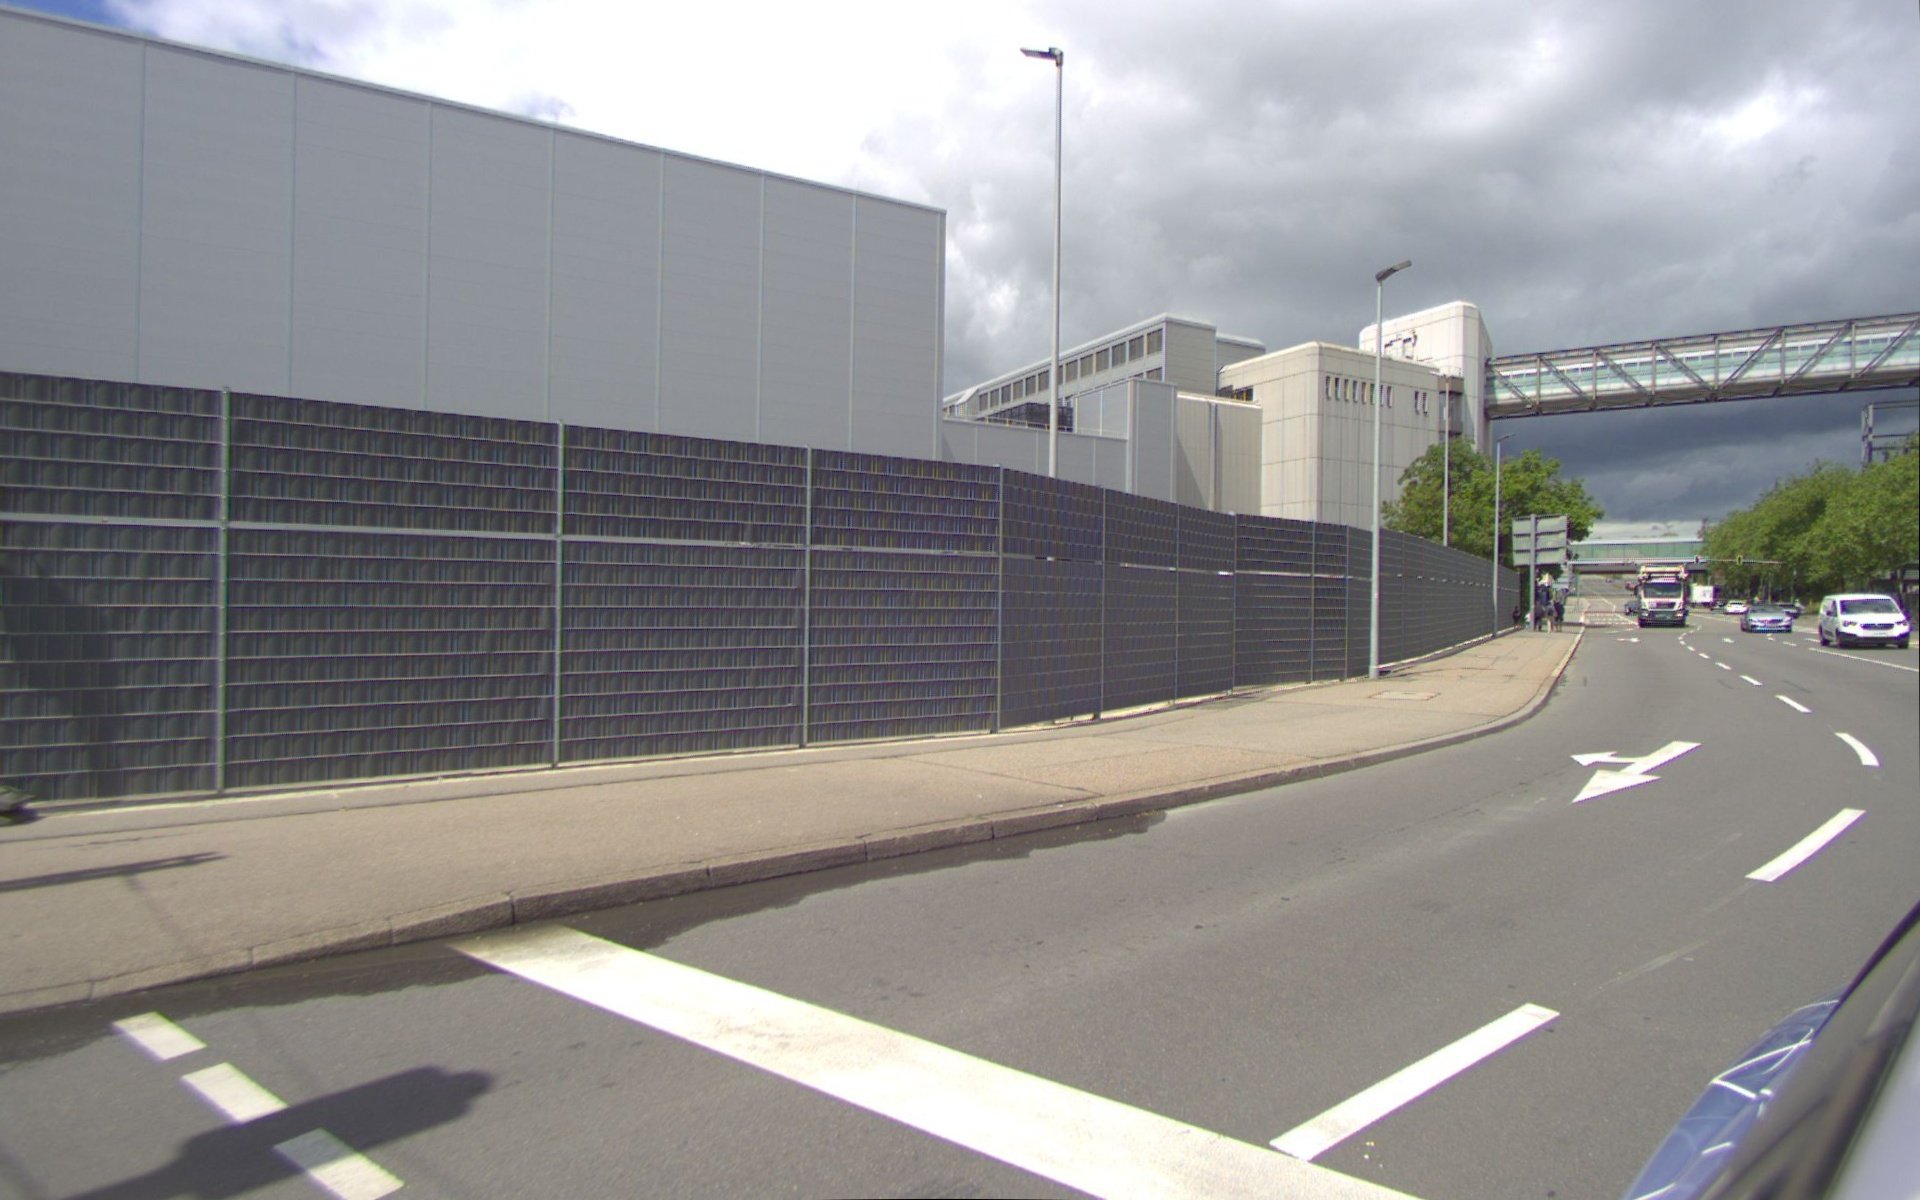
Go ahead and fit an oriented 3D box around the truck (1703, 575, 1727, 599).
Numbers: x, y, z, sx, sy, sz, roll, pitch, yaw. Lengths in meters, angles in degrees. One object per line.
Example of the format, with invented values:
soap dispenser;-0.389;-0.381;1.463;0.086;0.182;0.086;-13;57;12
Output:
truck;106.250;-1.857;142.498;2.444;3.168;7.153;-1;0;35

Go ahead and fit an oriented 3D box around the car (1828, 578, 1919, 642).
car;31.203;0.356;34.574;1.813;2.039;4.336;0;-1;34

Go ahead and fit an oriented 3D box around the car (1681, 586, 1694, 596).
car;126.255;-1.615;175.704;1.730;1.705;4.162;-1;0;35

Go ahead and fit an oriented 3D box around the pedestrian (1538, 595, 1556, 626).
pedestrian;31.094;0.562;53.608;0.790;1.617;0.724;-1;0;31

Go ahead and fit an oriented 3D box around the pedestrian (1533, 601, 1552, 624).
pedestrian;29.182;0.622;50.695;0.755;1.163;0.959;-1;0;36

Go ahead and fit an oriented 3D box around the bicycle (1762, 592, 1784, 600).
bicycle;118.924;-0.572;148.069;2.551;1.099;0.607;-1;0;39

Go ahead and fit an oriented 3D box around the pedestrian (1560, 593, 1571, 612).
pedestrian;55.802;0.201;93.287;0.806;1.665;0.987;2;1;31

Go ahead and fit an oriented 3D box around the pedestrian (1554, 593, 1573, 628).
pedestrian;31.142;0.540;52.262;0.790;1.742;0.724;-1;0;30

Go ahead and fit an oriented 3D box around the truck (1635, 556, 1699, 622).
truck;46.023;-0.733;66.115;2.693;3.934;10.621;-1;0;32

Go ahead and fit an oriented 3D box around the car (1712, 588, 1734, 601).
car;93.681;-0.695;124.264;1.733;1.600;4.217;3;2;33

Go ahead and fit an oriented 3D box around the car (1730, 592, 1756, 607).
car;81.373;-0.043;105.244;1.685;1.432;4.097;3;2;33

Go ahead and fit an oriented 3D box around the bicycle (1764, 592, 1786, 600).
bicycle;119.710;-0.574;148.646;2.553;1.099;0.607;-1;0;41

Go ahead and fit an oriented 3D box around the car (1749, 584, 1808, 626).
car;42.225;0.241;52.312;1.860;1.980;4.656;-2;0;34

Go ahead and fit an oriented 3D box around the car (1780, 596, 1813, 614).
car;79.306;0.454;96.036;1.871;1.524;4.141;3;1;33

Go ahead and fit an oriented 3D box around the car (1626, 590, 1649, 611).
car;69.217;0.059;103.420;1.860;1.980;4.656;-2;0;34

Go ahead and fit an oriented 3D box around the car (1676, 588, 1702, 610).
car;72.080;-0.121;100.091;1.860;1.980;4.656;-2;0;34

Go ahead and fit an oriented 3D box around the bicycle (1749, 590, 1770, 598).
bicycle;125.525;-0.996;158.859;2.546;1.193;0.608;-1;0;34

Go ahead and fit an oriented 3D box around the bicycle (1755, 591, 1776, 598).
bicycle;124.653;-0.859;156.646;2.406;1.099;0.606;-1;0;44

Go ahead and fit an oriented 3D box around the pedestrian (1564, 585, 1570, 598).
pedestrian;87.667;-1.239;146.073;0.724;1.788;1.004;-1;0;33
